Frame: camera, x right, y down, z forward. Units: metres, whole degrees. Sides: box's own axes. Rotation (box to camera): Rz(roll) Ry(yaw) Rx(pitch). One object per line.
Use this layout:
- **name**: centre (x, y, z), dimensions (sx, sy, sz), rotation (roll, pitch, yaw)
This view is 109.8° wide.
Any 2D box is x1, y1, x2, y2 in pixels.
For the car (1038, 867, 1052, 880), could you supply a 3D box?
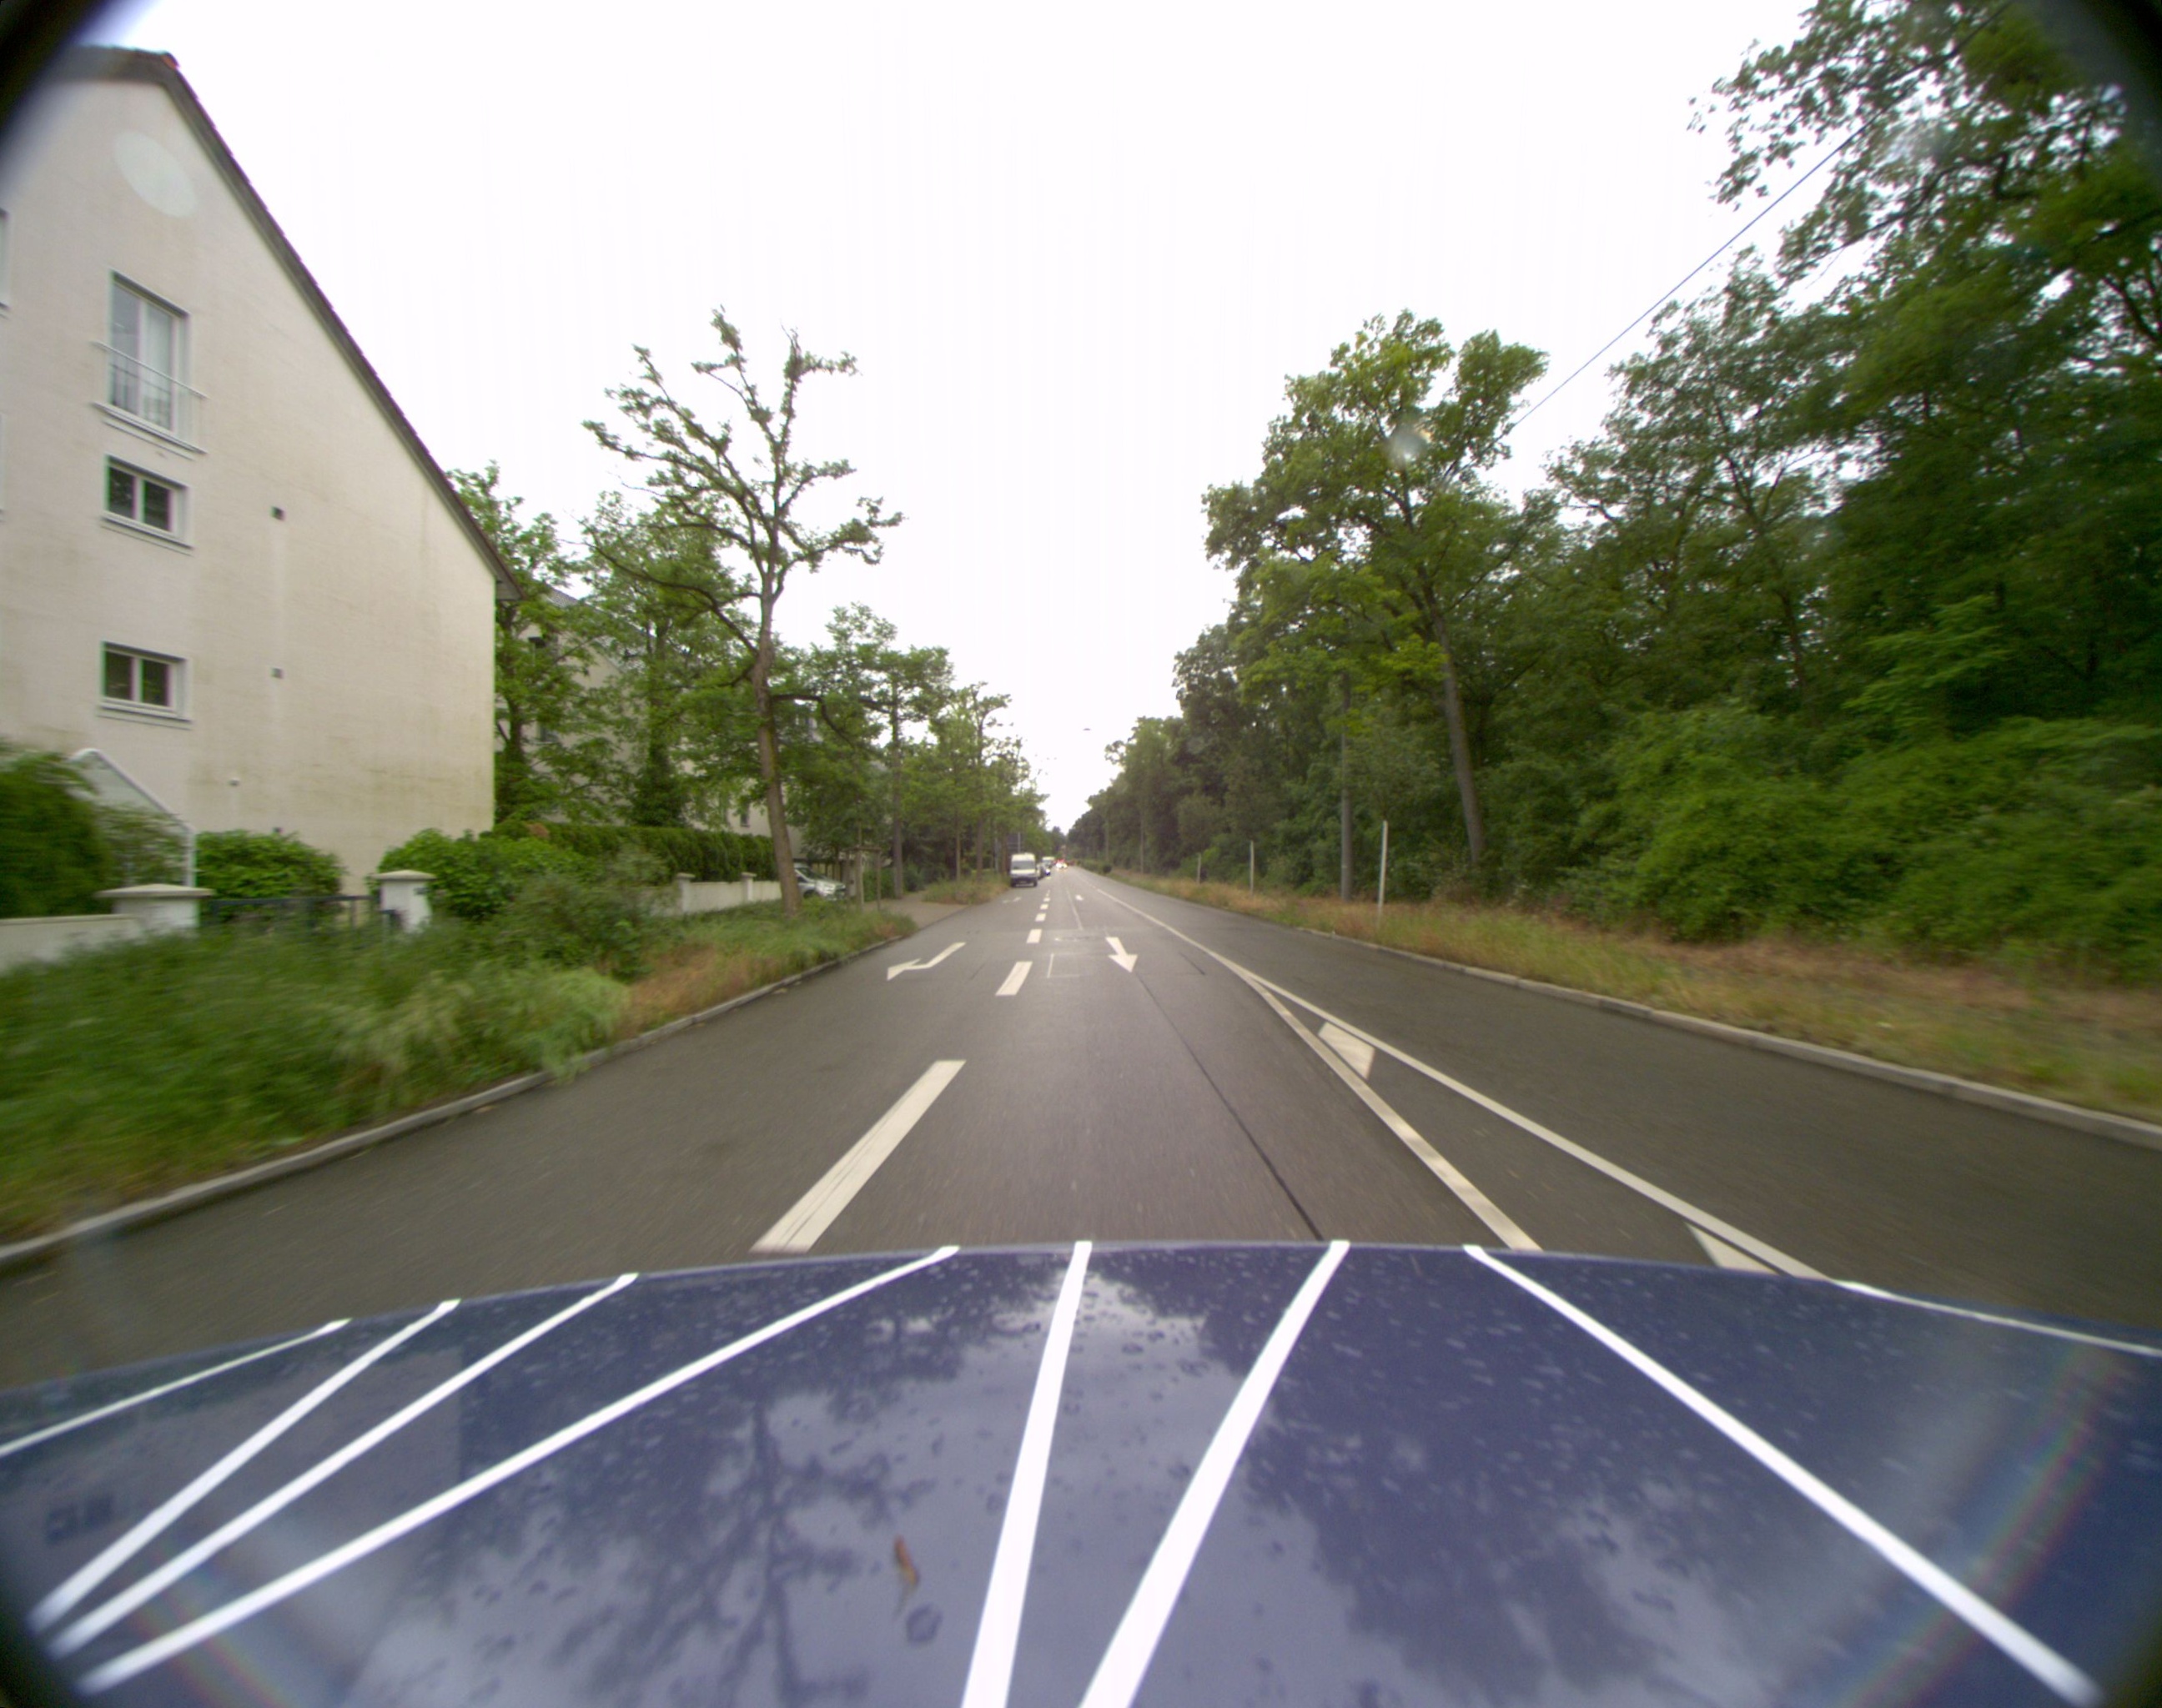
- **car**: centre (-4.552, 2.376, 95.112), dimensions (1.622, 1.459, 4.409), rotation (-2, 0, -3)

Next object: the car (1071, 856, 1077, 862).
- **car**: centre (-2.166, 1.432, 226.837), dimensions (1.681, 1.608, 4.061), rotation (1, 0, -3)

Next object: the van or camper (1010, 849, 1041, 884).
- **van or camper**: centre (-4.231, 0.938, 59.075), dimensions (2.042, 2.465, 5.637), rotation (-3, 0, -2)

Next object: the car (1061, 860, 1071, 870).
- **car**: centre (-3.122, 2.425, 162.082), dimensions (1.998, 2.002, 3.999), rotation (-2, 1, 0)

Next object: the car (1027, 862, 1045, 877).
- **car**: centre (-4.632, 1.608, 78.500), dimensions (1.576, 1.463, 3.764), rotation (-2, 0, -1)

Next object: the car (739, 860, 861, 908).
- **car**: centre (-11.525, 1.220, 31.290), dimensions (4.312, 1.807, 1.876), rotation (-2, 0, 9)

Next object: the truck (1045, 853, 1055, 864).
- **truck**: centre (-6.867, 0.985, 168.579), dimensions (2.230, 2.321, 5.112), rotation (1, 0, -3)

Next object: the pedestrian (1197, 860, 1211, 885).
- **pedestrian**: centre (8.059, 1.213, 49.797), dimensions (0.783, 1.598, 0.732), rotation (0, 0, -3)
